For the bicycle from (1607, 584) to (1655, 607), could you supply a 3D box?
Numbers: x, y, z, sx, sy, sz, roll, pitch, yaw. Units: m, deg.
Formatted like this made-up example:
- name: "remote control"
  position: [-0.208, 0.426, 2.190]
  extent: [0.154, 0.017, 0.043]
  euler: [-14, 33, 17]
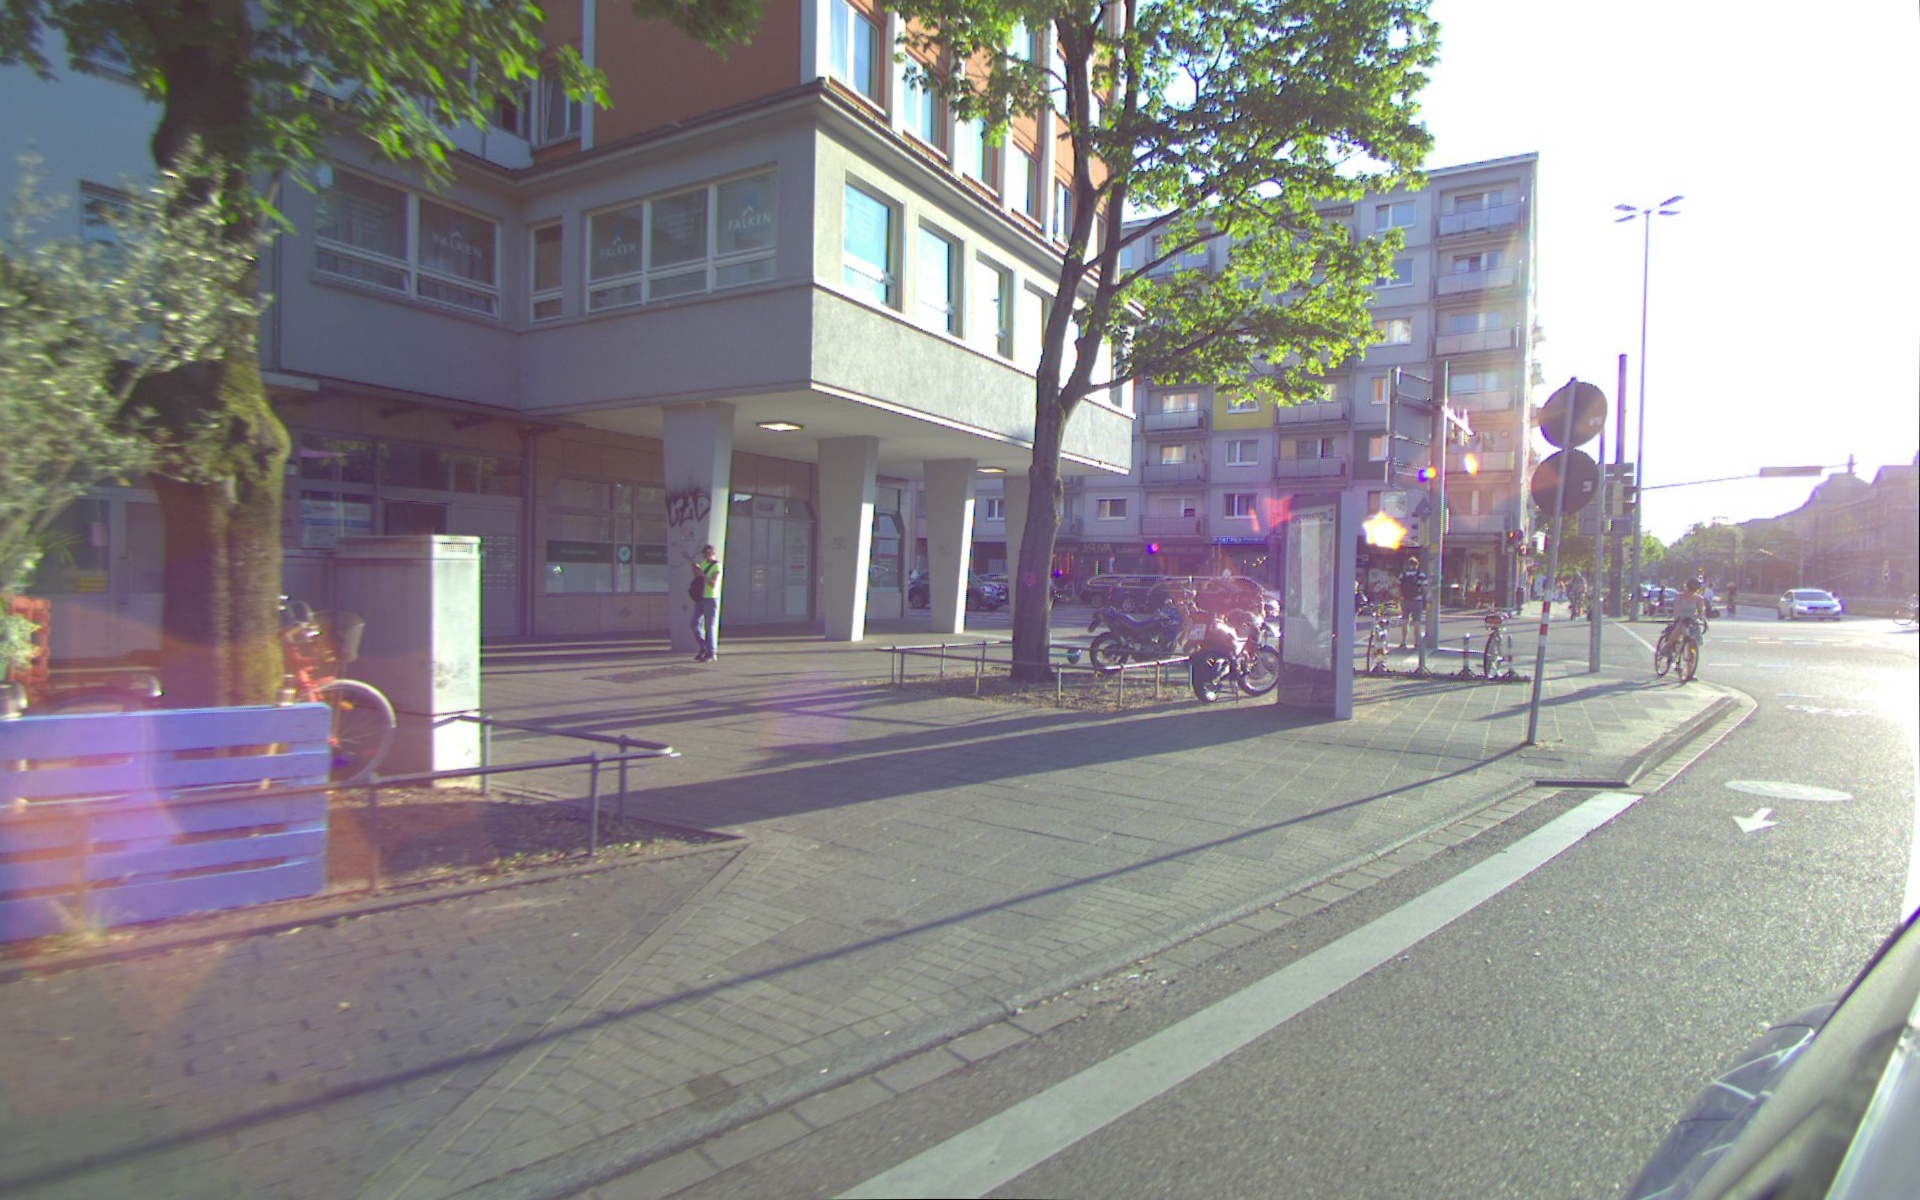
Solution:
- name: "bicycle"
  position: [33.315, -0.232, 50.267]
  extent: [1.944, 1.134, 0.453]
  euler: [1, 1, 34]

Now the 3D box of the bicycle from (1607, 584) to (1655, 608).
- name: "bicycle"
  position: [32.720, -0.218, 49.375]
  extent: [1.944, 1.134, 0.453]
  euler: [1, 1, 34]

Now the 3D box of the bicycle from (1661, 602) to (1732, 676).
- name: "bicycle"
  position: [11.383, 0.574, 15.681]
  extent: [0.510, 1.040, 1.780]
  euler: [1, 1, 24]

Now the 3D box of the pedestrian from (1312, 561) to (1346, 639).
- name: "pedestrian"
  position: [8.350, -0.011, 22.874]
  extent: [0.515, 1.714, 0.763]
  euler: [2, 2, 34]

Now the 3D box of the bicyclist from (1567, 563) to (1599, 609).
- name: "bicyclist"
  position: [22.112, -0.503, 35.929]
  extent: [0.722, 1.587, 0.821]
  euler: [0, 1, -45]

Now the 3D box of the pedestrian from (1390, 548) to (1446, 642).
- name: "pedestrian"
  position: [9.891, -0.126, 21.866]
  extent: [0.832, 1.981, 0.702]
  euler: [1, 1, 1]

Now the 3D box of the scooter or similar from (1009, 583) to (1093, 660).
- name: "scooter or similar"
  position: [1.547, 0.349, 17.137]
  extent: [1.495, 1.279, 0.309]
  euler: [0, 0, -29]

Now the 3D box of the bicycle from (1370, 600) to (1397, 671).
- name: "bicycle"
  position: [6.694, 0.529, 15.961]
  extent: [0.365, 1.040, 1.780]
  euler: [1, 1, 24]

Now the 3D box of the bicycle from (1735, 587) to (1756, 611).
- name: "bicycle"
  position: [41.071, -0.080, 52.921]
  extent: [0.571, 1.215, 2.182]
  euler: [1, 1, 31]

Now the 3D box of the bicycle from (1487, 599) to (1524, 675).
- name: "bicycle"
  position: [8.129, 0.522, 15.110]
  extent: [0.357, 1.040, 1.779]
  euler: [1, 1, 24]

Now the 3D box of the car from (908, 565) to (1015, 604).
- name: "car"
  position: [0.042, -0.621, 39.801]
  extent: [3.900, 1.469, 1.781]
  euler: [1, 1, 35]

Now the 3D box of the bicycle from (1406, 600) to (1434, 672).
- name: "bicycle"
  position: [7.117, 0.525, 15.669]
  extent: [0.357, 1.040, 1.779]
  euler: [1, 1, 24]

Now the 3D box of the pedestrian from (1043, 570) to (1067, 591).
- name: "pedestrian"
  position: [5.435, -1.132, 57.972]
  extent: [0.887, 1.181, 1.048]
  euler: [0, 1, -33]

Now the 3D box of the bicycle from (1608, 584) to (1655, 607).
- name: "bicycle"
  position: [33.624, -0.240, 50.707]
  extent: [1.944, 1.134, 0.453]
  euler: [1, 1, 34]

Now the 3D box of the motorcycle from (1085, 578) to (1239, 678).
- name: "motorcycle"
  position: [2.929, 0.367, 14.779]
  extent: [2.130, 1.371, 0.636]
  euler: [1, 1, 31]

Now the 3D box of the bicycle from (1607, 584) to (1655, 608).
- name: "bicycle"
  position: [33.031, -0.215, 49.823]
  extent: [1.944, 1.134, 0.453]
  euler: [1, 1, 34]

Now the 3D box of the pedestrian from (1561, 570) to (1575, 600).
- name: "pedestrian"
  position: [43.414, -1.060, 72.250]
  extent: [0.651, 2.038, 0.743]
  euler: [6, -1, 32]

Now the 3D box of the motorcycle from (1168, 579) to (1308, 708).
- name: "motorcycle"
  position: [3.268, 0.450, 11.748]
  extent: [0.641, 1.361, 2.168]
  euler: [1, 1, 42]

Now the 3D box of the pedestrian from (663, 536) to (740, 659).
- name: "pedestrian"
  position: [-3.825, -0.046, 14.999]
  extent: [0.650, 1.746, 0.868]
  euler: [2, 1, 29]

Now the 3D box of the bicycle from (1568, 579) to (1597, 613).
- name: "bicycle"
  position: [22.176, -0.156, 36.037]
  extent: [0.489, 1.197, 1.941]
  euler: [1, 1, 43]

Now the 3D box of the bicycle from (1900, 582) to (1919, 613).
- name: "bicycle"
  position: [37.596, -0.080, 38.997]
  extent: [1.956, 1.197, 0.485]
  euler: [1, 1, 32]

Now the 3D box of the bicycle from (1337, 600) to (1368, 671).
- name: "bicycle"
  position: [6.260, 0.536, 16.101]
  extent: [0.357, 1.040, 1.779]
  euler: [1, 1, 24]

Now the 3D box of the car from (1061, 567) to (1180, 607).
- name: "car"
  position: [6.247, -0.518, 39.546]
  extent: [4.218, 1.487, 1.974]
  euler: [1, 1, 37]

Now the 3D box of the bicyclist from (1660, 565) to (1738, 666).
- name: "bicyclist"
  position: [11.337, 0.214, 15.546]
  extent: [0.789, 1.499, 0.800]
  euler: [1, 0, 24]

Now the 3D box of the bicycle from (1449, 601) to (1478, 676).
- name: "bicycle"
  position: [7.654, 0.553, 15.411]
  extent: [0.357, 1.040, 1.778]
  euler: [1, 1, 26]

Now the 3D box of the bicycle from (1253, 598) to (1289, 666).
- name: "bicycle"
  position: [5.138, 0.494, 16.657]
  extent: [0.361, 1.040, 1.780]
  euler: [1, 1, 24]

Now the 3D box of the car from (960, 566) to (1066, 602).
- name: "car"
  position: [2.363, -0.719, 45.273]
  extent: [4.505, 1.514, 1.686]
  euler: [2, 1, 32]

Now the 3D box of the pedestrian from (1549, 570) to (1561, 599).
- name: "pedestrian"
  position: [42.805, -1.133, 72.786]
  extent: [0.712, 2.039, 0.639]
  euler: [1, 1, 32]

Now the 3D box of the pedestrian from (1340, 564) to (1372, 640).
- name: "pedestrian"
  position: [8.822, 0.037, 22.557]
  extent: [0.515, 1.665, 0.699]
  euler: [1, 1, 34]

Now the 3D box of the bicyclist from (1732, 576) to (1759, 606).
- name: "bicyclist"
  position: [41.107, -0.490, 52.960]
  extent: [0.988, 1.557, 0.913]
  euler: [1, 0, 31]

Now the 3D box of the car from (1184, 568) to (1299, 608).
- name: "car"
  position: [11.063, -0.496, 39.894]
  extent: [3.989, 1.487, 1.894]
  euler: [1, 1, 37]

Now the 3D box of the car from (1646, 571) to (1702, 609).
- name: "car"
  position: [39.774, -0.564, 56.476]
  extent: [1.981, 2.039, 3.963]
  euler: [1, 1, 27]

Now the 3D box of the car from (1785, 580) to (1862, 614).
- name: "car"
  position: [40.401, -0.158, 47.444]
  extent: [1.939, 1.512, 3.919]
  euler: [1, 1, 29]

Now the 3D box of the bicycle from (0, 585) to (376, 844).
- name: "bicycle"
  position: [-4.264, 0.538, 5.307]
  extent: [2.044, 1.225, 0.447]
  euler: [0, 1, -38]

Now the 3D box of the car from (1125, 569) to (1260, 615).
- name: "car"
  position: [8.000, -0.308, 34.880]
  extent: [4.156, 1.443, 1.912]
  euler: [1, 3, 31]
